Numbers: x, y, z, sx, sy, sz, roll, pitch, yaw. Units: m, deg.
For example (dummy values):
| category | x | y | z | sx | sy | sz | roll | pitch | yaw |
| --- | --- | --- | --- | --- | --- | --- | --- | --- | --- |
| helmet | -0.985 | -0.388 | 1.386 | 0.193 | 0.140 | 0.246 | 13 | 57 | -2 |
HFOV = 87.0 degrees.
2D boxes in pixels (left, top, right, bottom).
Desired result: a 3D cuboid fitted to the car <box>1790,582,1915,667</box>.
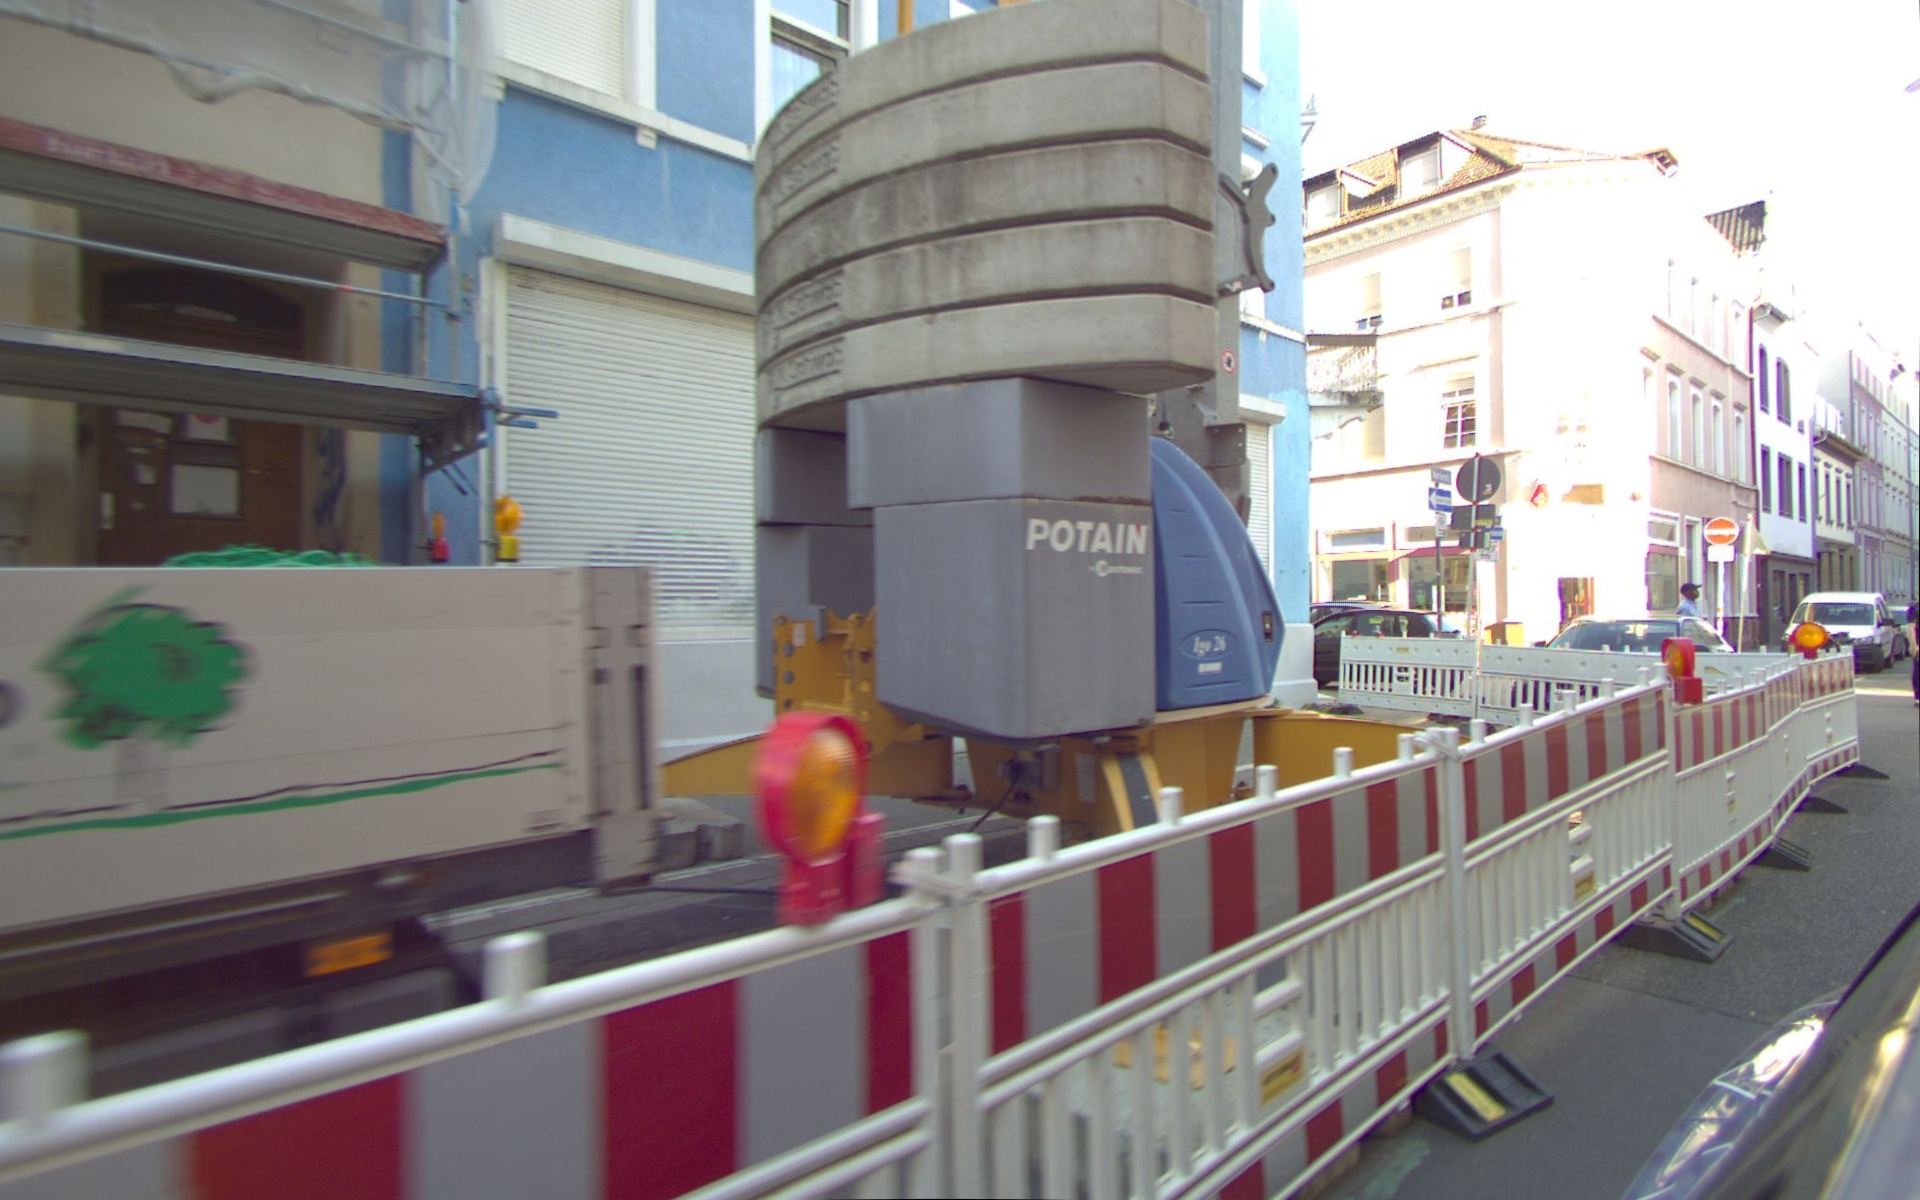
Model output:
| category | x | y | z | sx | sy | sz | roll | pitch | yaw |
| --- | --- | --- | --- | --- | --- | --- | --- | --- | --- |
| car | 21.465 | 0.502 | 24.294 | 4.294 | 1.839 | 1.751 | -1 | 1 | -42 |

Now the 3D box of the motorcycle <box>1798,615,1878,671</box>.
| category | x | y | z | sx | sy | sz | roll | pitch | yaw |
| --- | --- | --- | --- | --- | --- | --- | --- | --- | --- |
| motorcycle | 18.950 | 0.901 | 21.839 | 1.957 | 1.100 | 0.722 | -1 | 1 | -30 |

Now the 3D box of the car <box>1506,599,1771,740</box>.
| category | x | y | z | sx | sy | sz | roll | pitch | yaw |
| --- | --- | --- | --- | --- | --- | --- | --- | --- | --- |
| car | 8.533 | 0.750 | 12.606 | 3.964 | 1.452 | 1.774 | -1 | -1 | -42 |

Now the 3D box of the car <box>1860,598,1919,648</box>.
| category | x | y | z | sx | sy | sz | roll | pitch | yaw |
| --- | --- | --- | --- | --- | --- | --- | --- | --- | --- |
| car | 29.419 | 0.672 | 31.463 | 3.815 | 1.413 | 1.734 | -1 | 1 | -42 |

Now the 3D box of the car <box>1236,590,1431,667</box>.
| category | x | y | z | sx | sy | sz | roll | pitch | yaw |
| --- | --- | --- | --- | --- | --- | --- | --- | --- | --- |
| car | 9.051 | 0.665 | 24.762 | 1.824 | 1.653 | 4.066 | -3 | 1 | -40 |

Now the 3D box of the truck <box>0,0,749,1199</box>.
| category | x | y | z | sx | sy | sz | roll | pitch | yaw |
| --- | --- | --- | --- | --- | --- | --- | --- | --- | --- |
| truck | -4.070 | 0.080 | 0.746 | 7.264 | 2.850 | 2.665 | -1 | -2 | -41 |

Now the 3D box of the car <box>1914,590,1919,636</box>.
| category | x | y | z | sx | sy | sz | roll | pitch | yaw |
| --- | --- | --- | --- | --- | --- | --- | --- | --- | --- |
| car | 38.768 | 0.495 | 39.619 | 4.332 | 1.752 | 1.712 | -1 | 1 | -42 |

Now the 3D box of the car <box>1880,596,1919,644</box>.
| category | x | y | z | sx | sy | sz | roll | pitch | yaw |
| --- | --- | --- | --- | --- | --- | --- | --- | --- | --- |
| car | 32.743 | 0.644 | 34.544 | 3.707 | 1.523 | 1.618 | -1 | 1 | -42 |

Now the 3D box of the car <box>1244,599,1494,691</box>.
| category | x | y | z | sx | sy | sz | roll | pitch | yaw |
| --- | --- | --- | --- | --- | --- | --- | --- | --- | --- |
| car | 7.287 | 0.770 | 18.338 | 1.647 | 1.472 | 3.874 | 0 | -1 | -40 |

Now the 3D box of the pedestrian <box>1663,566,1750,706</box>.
| category | x | y | z | sx | sy | sz | roll | pitch | yaw |
| --- | --- | --- | --- | --- | --- | --- | --- | --- | --- |
| pedestrian | 10.395 | 0.493 | 14.096 | 0.767 | 1.873 | 0.770 | 0 | -2 | -42 |

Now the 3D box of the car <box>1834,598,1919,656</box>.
| category | x | y | z | sx | sy | sz | roll | pitch | yaw |
| --- | --- | --- | --- | --- | --- | --- | --- | --- | --- |
| car | 25.190 | 0.682 | 27.577 | 3.815 | 1.426 | 1.611 | -1 | 1 | -42 |

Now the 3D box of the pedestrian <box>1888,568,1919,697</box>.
| category | x | y | z | sx | sy | sz | roll | pitch | yaw |
| --- | --- | --- | --- | --- | --- | --- | --- | --- | --- |
| pedestrian | 13.985 | 0.465 | 14.359 | 0.817 | 1.815 | 0.985 | 1 | 1 | 18 |
